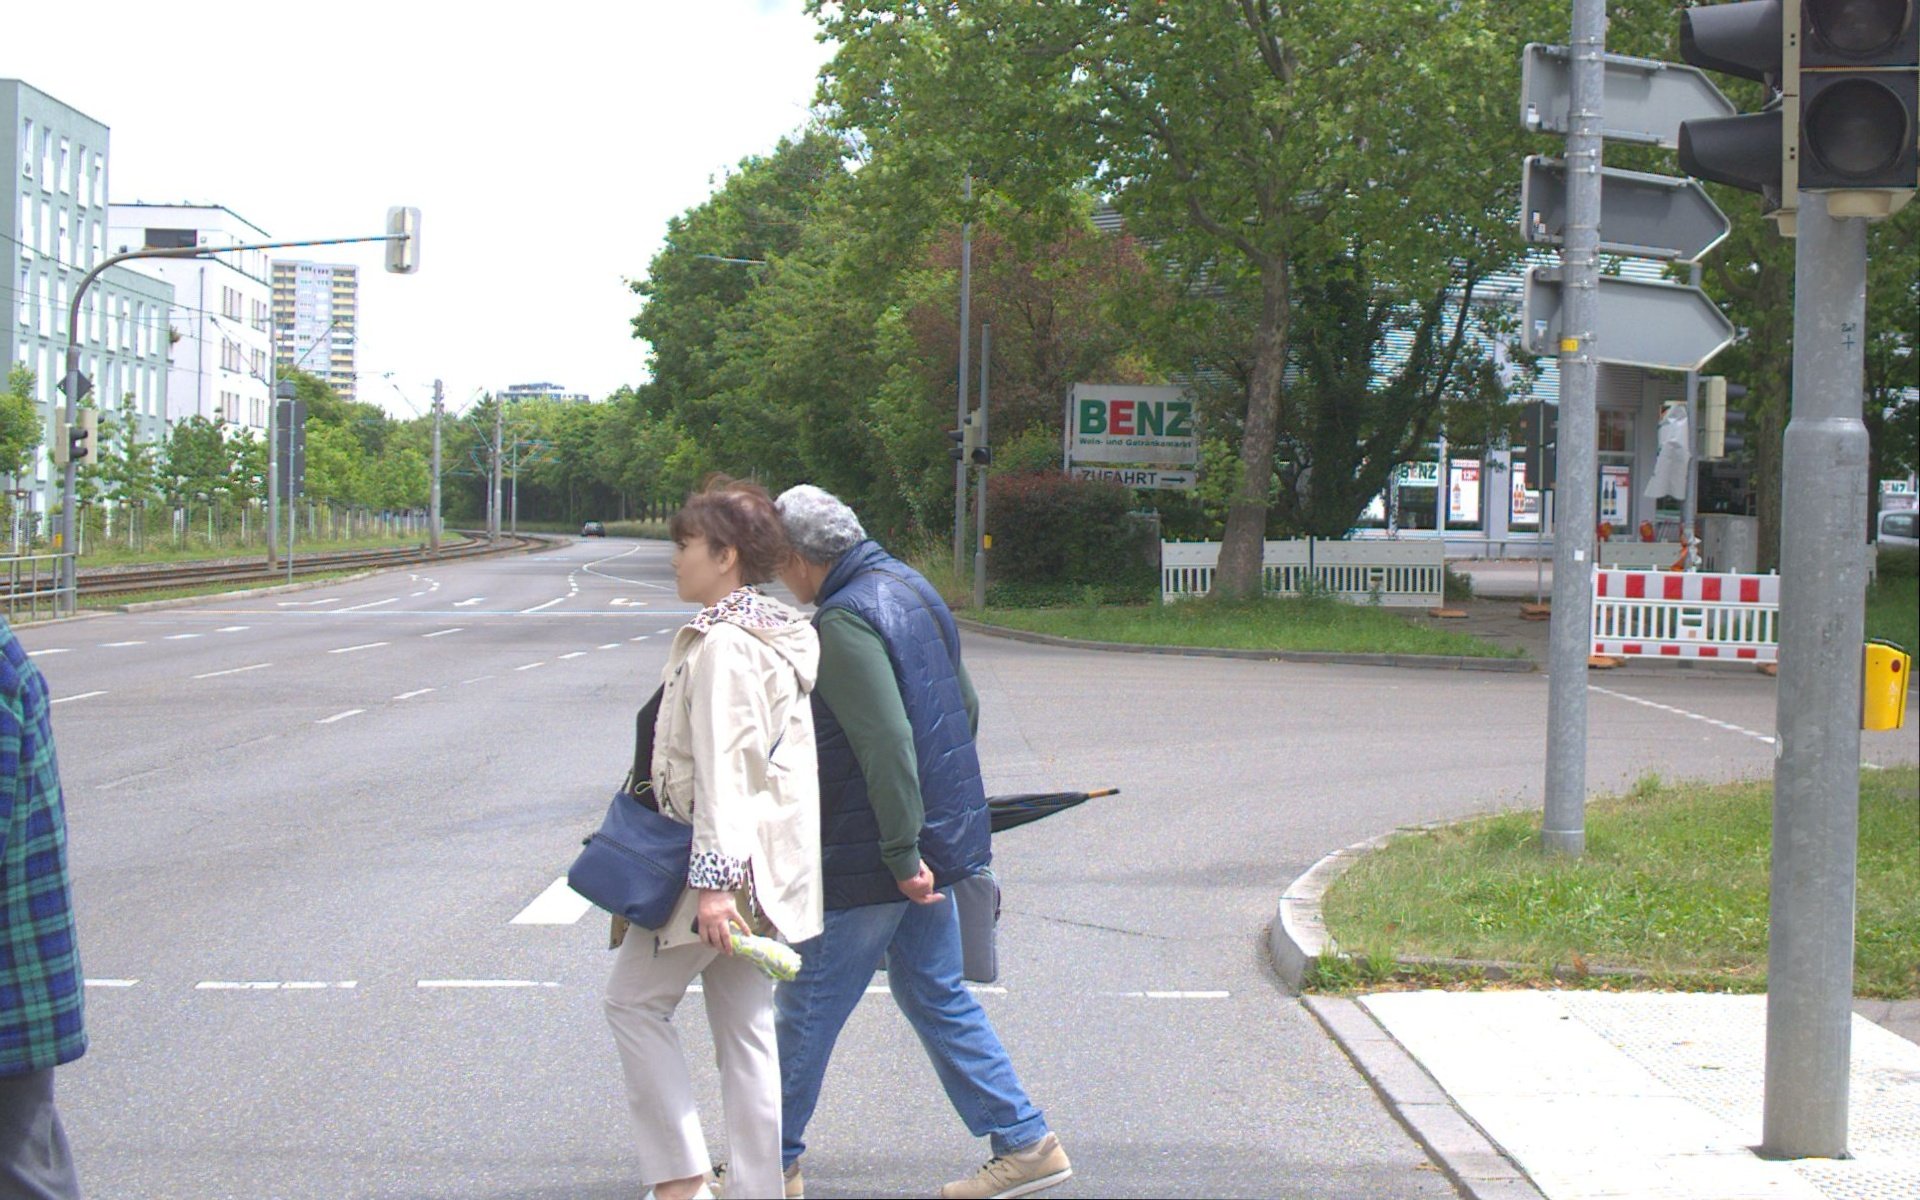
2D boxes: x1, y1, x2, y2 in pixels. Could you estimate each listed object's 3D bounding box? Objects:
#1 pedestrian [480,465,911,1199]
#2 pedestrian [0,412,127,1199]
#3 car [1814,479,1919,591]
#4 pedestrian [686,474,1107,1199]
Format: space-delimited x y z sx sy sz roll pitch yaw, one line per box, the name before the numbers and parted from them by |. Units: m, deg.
pedestrian | -0.532 0.550 7.065 0.822 1.634 0.733 1 1 -2
pedestrian | -1.784 0.533 5.579 0.822 1.665 0.733 0 1 -13
car | 17.740 -1.182 62.566 1.993 2.007 4.000 0 2 -32
pedestrian | -0.155 0.546 7.592 0.868 1.629 0.765 1 1 -3
